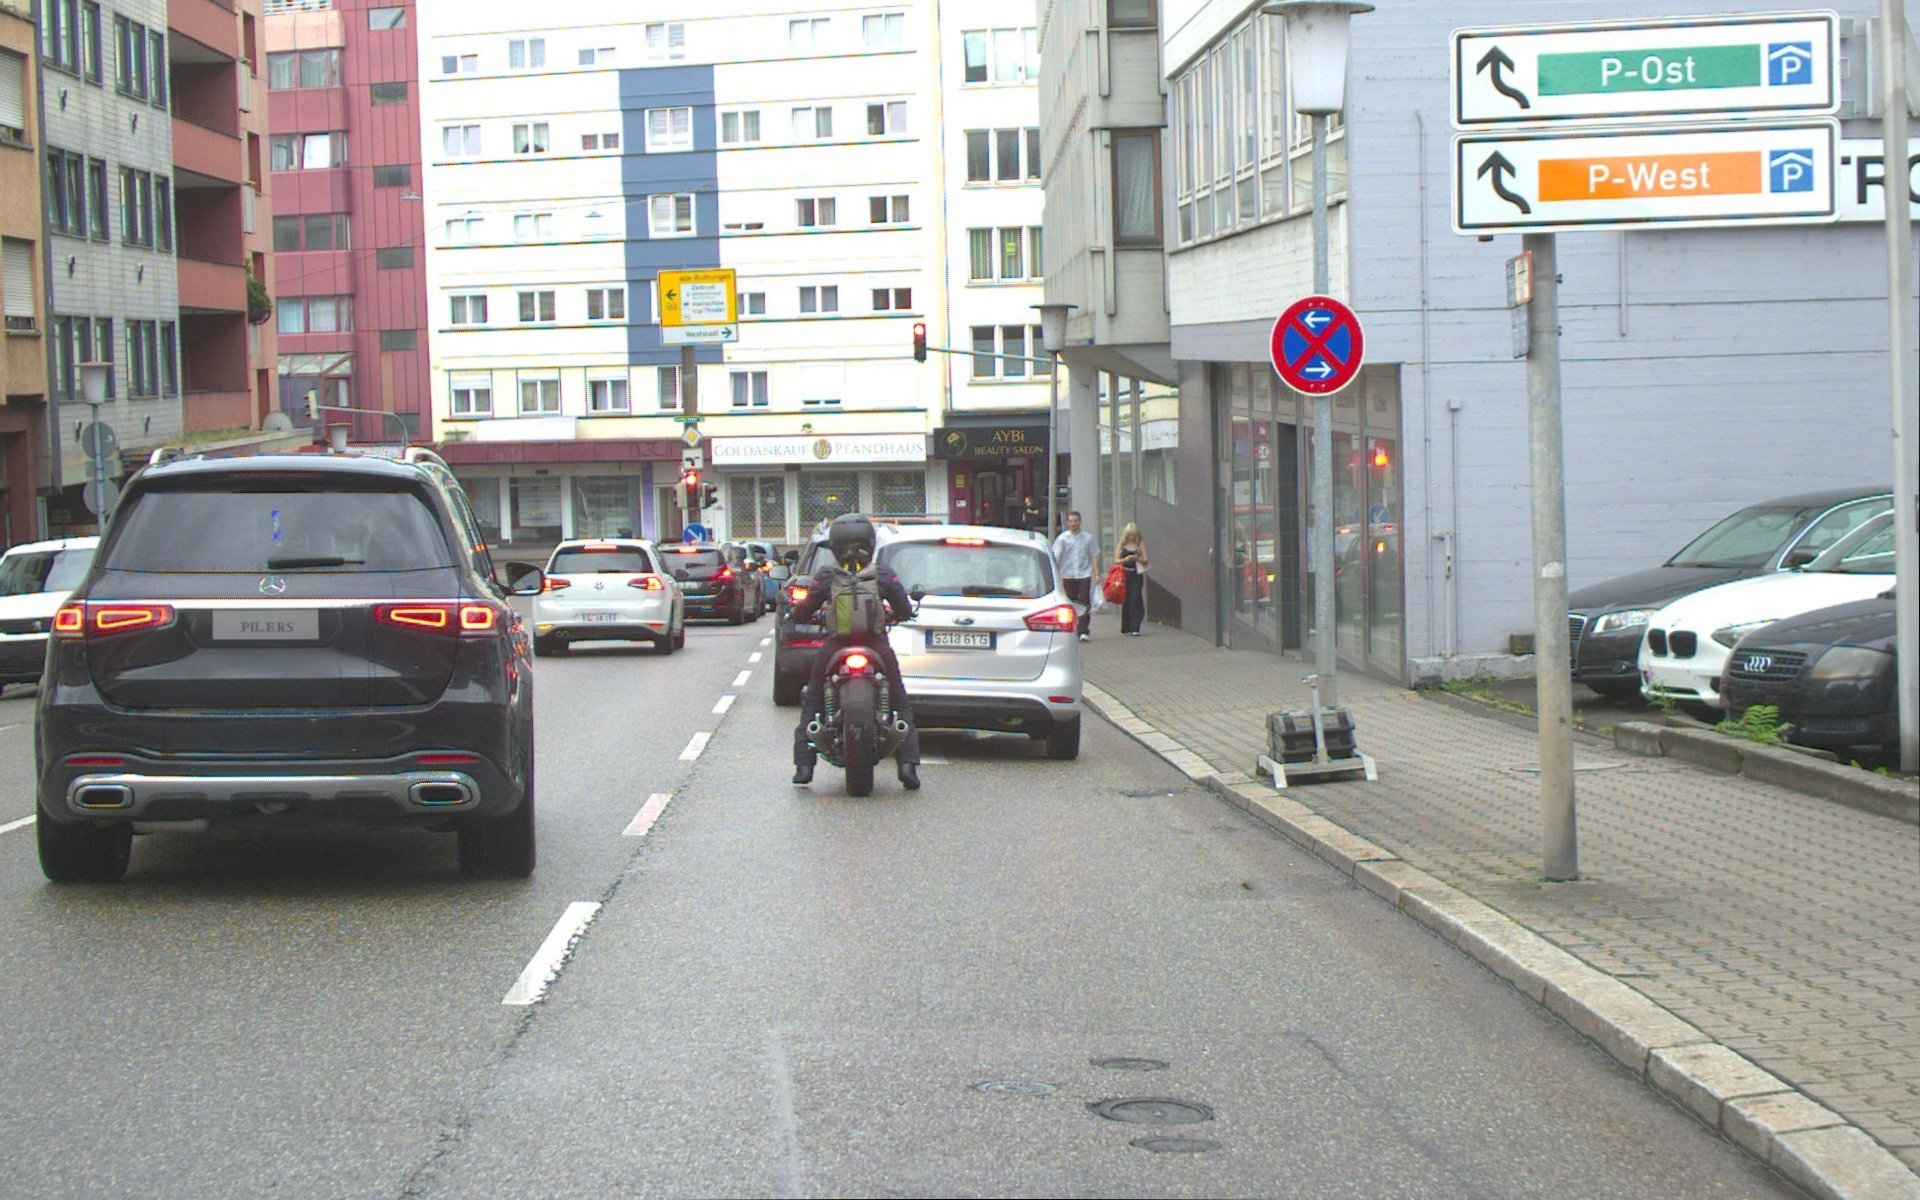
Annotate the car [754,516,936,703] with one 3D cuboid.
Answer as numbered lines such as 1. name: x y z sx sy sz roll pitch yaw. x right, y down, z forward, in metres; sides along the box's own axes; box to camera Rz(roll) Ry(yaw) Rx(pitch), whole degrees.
1. car: -1.065 0.043 30.662 1.522 1.543 3.108 -1 2 -3

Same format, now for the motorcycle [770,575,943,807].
1. motorcycle: -0.631 0.483 19.949 0.867 1.182 2.562 -1 2 -4

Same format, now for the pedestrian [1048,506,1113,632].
1. pedestrian: 1.585 -0.415 45.284 0.769 1.606 0.704 -1 3 -4

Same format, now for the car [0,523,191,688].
1. car: -10.373 0.028 40.202 1.869 1.747 4.400 -3 2 -3

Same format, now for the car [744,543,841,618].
1. car: -3.558 -0.439 73.613 1.885 1.497 4.399 1 1 -1

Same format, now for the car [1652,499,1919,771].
1. car: 6.288 0.196 20.312 3.986 1.489 1.733 0 0 -20

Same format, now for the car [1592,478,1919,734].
1. car: 6.421 0.042 22.893 3.986 1.592 1.800 0 0 -20

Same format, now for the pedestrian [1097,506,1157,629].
1. pedestrian: 2.244 -0.441 46.213 0.717 1.606 0.611 -1 3 -4

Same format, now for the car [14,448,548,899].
1. car: -2.939 0.240 15.690 2.020 1.733 4.749 1 1 -8

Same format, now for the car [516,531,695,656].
1. car: -4.524 -0.127 44.436 1.885 1.497 4.399 1 1 -1

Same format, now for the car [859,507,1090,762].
1. car: 0.054 0.187 24.265 1.416 1.645 3.108 -1 2 -3

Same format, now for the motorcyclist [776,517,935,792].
1. motorcyclist: -0.615 0.308 19.969 0.866 1.555 0.764 -1 0 -4

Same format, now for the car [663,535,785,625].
1. car: -4.148 -0.378 61.039 1.885 1.497 4.399 1 1 -1

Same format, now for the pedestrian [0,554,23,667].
1. pedestrian: -14.414 0.157 51.308 0.671 1.646 0.606 -1 5 -4

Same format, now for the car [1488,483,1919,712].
1. car: 6.122 -0.012 25.472 3.986 1.592 1.800 0 0 -20
